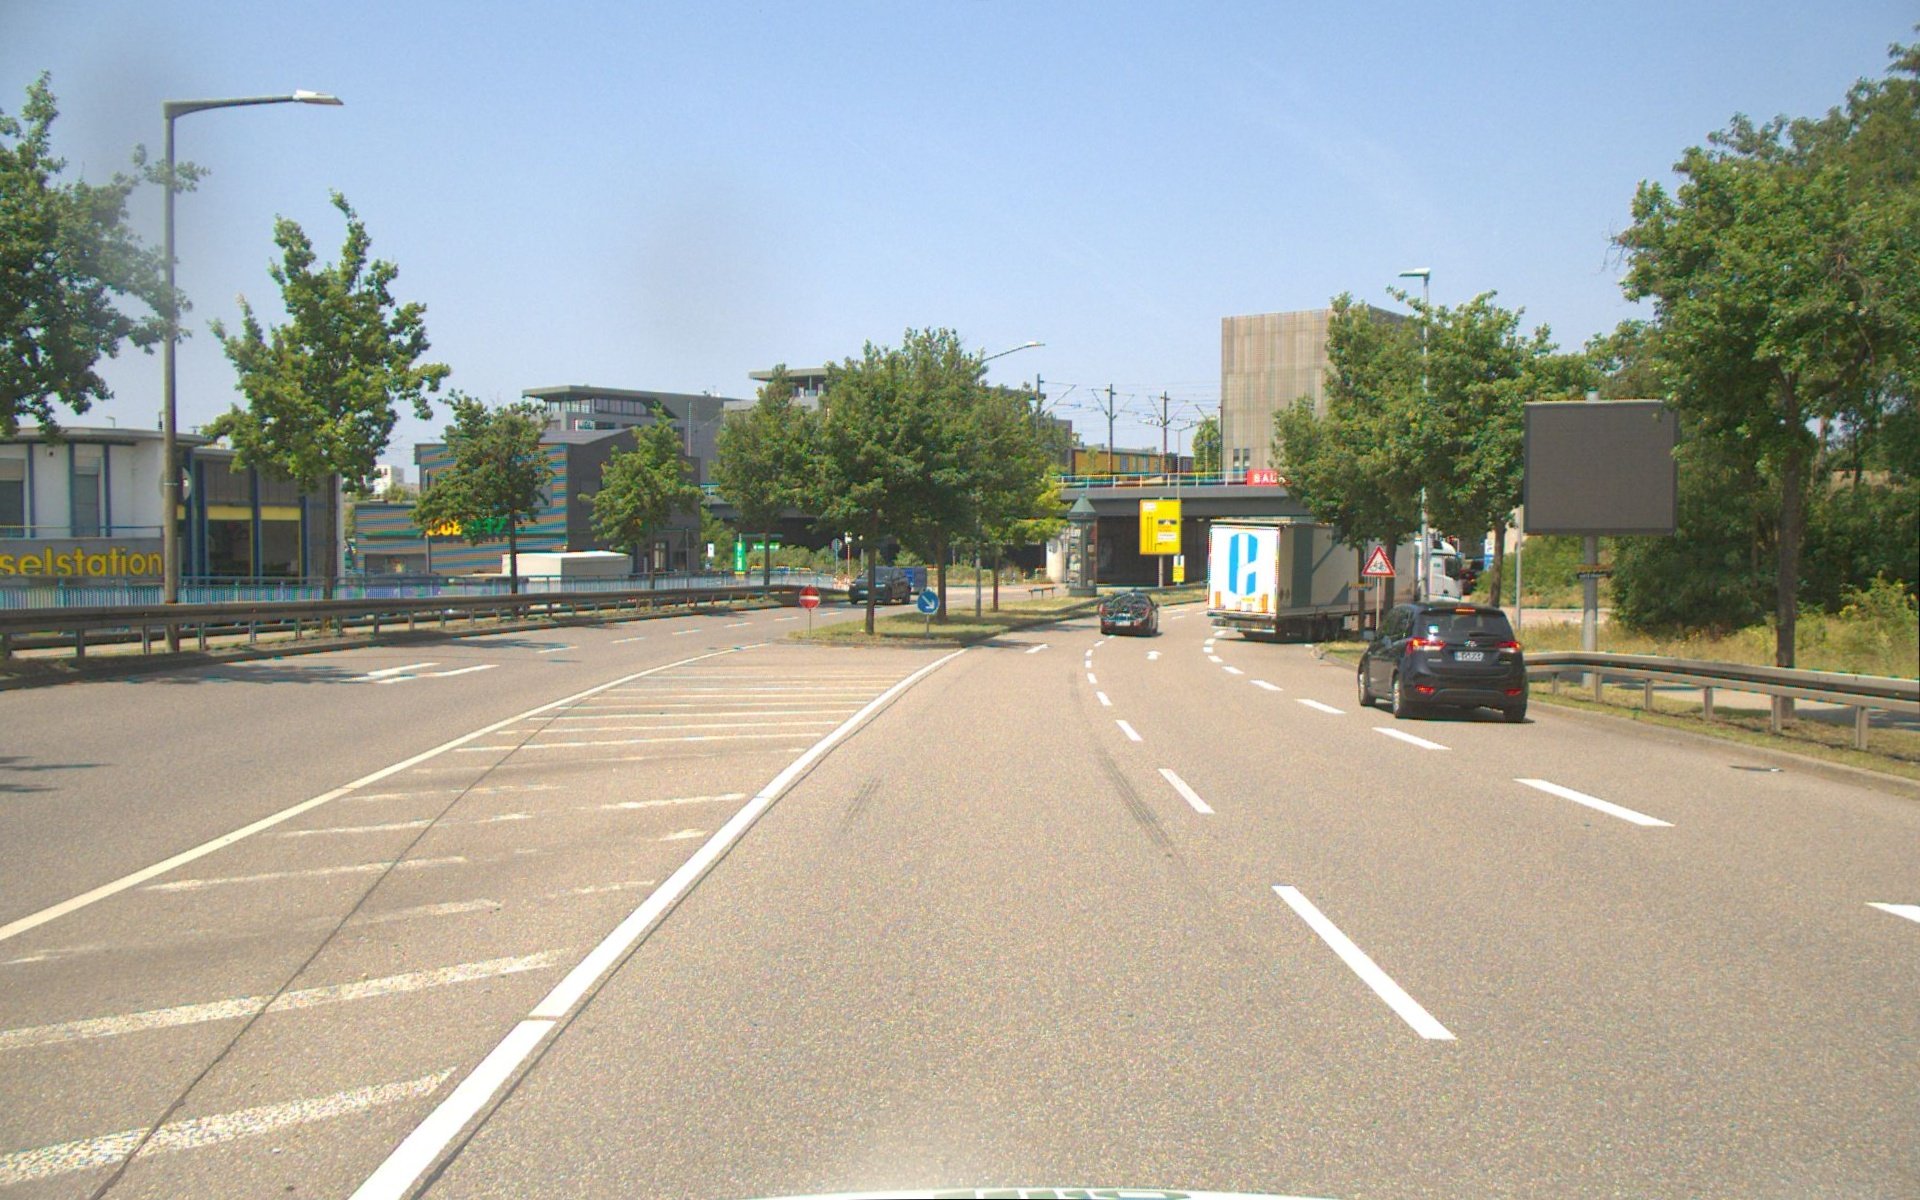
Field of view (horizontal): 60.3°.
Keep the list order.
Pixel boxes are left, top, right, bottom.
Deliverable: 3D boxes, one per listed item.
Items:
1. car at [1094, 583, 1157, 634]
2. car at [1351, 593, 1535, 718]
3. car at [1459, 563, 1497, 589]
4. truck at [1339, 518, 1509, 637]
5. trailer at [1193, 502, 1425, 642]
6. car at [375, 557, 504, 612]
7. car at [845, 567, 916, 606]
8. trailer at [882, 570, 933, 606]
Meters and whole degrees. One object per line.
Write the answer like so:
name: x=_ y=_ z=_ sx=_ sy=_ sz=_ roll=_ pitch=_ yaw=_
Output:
car: x=5.687 y=0.264 z=56.417 sx=1.915 sy=1.662 sz=4.284 roll=-1 pitch=0 yaw=9
car: x=6.862 y=0.764 z=23.892 sx=1.730 sy=1.627 sz=4.079 roll=1 pitch=-1 yaw=4
car: x=40.116 y=-1.852 z=128.050 sx=1.807 sy=1.923 sz=3.990 roll=2 pitch=2 yaw=32
truck: x=18.807 y=-0.893 z=67.043 sx=5.989 sy=4.443 sz=3.059 roll=2 pitch=2 yaw=-28
trailer: x=13.195 y=-0.953 z=60.766 sx=3.025 sy=4.443 sz=14.732 roll=4 pitch=2 yaw=33
car: x=-16.202 y=-0.488 z=51.767 sx=1.857 sy=1.596 sz=4.644 roll=-1 pitch=0 yaw=10
car: x=-3.618 y=-0.603 z=75.984 sx=1.874 sy=1.681 sz=4.410 roll=-2 pitch=0 yaw=16
trailer: x=-2.512 y=-0.580 z=79.704 sx=1.473 sy=1.643 sz=3.310 roll=-2 pitch=0 yaw=16
